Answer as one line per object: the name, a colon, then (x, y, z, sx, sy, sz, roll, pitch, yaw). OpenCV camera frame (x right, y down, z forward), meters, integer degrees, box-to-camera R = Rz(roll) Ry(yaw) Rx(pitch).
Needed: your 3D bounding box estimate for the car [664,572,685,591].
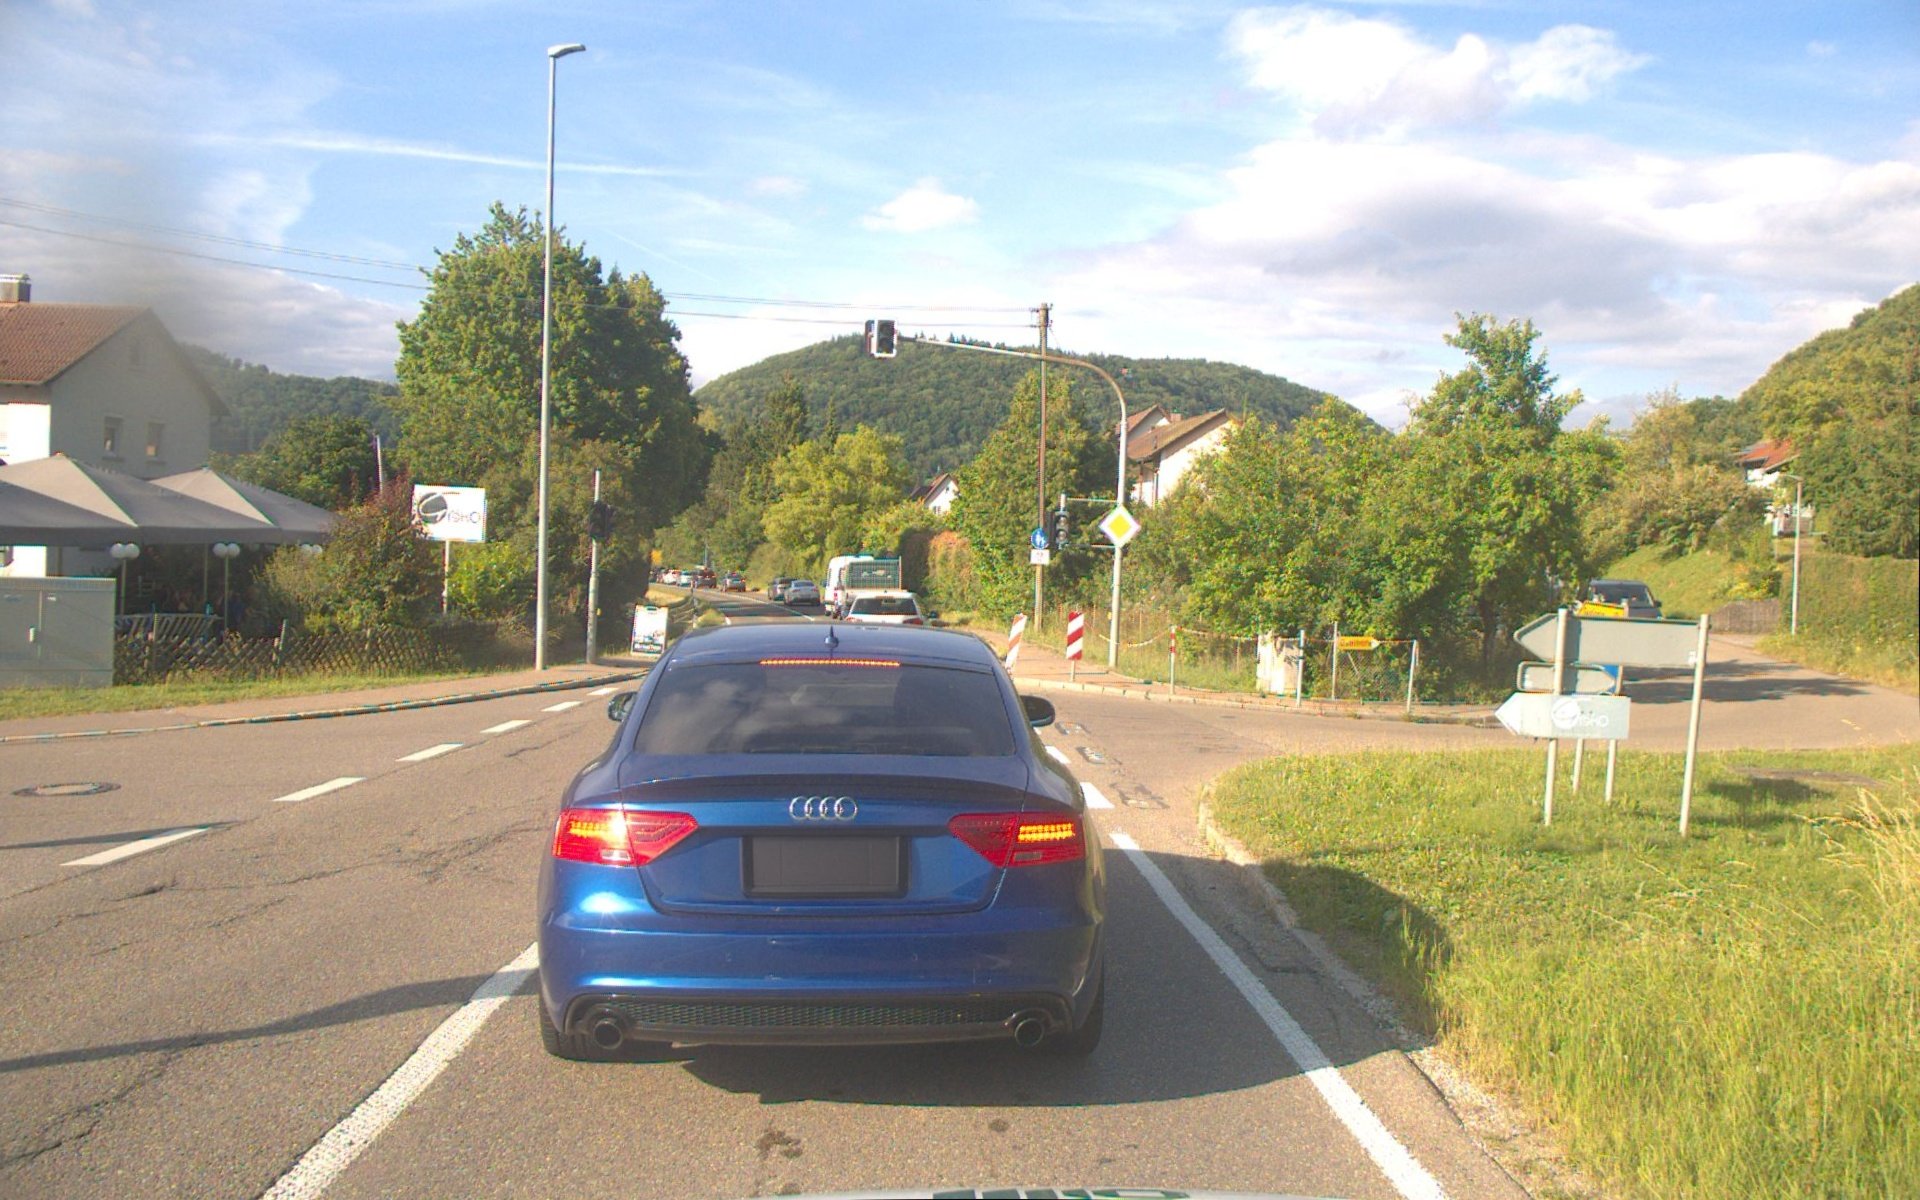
car: (-28.450, -1.851, 164.787, 1.720, 1.814, 3.983, 0, 1, -16)

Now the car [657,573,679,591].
car: (-30.185, -1.831, 170.876, 1.744, 1.814, 3.982, 0, 1, -17)

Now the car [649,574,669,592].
car: (-32.287, -1.820, 177.188, 1.743, 1.814, 3.983, 0, 1, -16)

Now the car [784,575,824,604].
car: (-8.856, -0.637, 93.751, 1.787, 1.579, 3.988, 0, 1, -12)

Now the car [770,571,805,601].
car: (-10.945, -0.899, 104.746, 1.765, 1.825, 3.988, 0, 1, -12)

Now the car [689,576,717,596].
car: (-22.988, -1.226, 147.703, 2.007, 1.713, 3.983, 0, 1, -16)

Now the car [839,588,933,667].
car: (-1.495, 0.513, 33.736, 1.736, 1.439, 4.172, 2, 0, -2)

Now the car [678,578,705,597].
car: (-25.381, -1.181, 156.242, 1.912, 1.713, 3.980, 0, 1, -18)

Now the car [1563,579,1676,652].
car: (19.214, 0.393, 48.384, 1.951, 1.909, 4.875, 3, 1, 9)

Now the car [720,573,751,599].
car: (-17.982, -1.137, 132.437, 1.960, 2.049, 3.985, 0, 1, -15)

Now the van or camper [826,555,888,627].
van or camper: (-4.534, -0.428, 71.955, 2.369, 2.955, 6.123, 0, 1, -7)

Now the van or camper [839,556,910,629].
van or camper: (-3.027, -0.287, 57.409, 2.138, 2.426, 5.362, 0, 1, -7)

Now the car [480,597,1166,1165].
car: (-0.439, 0.730, 6.468, 1.793, 1.433, 4.225, 0, 1, -2)
